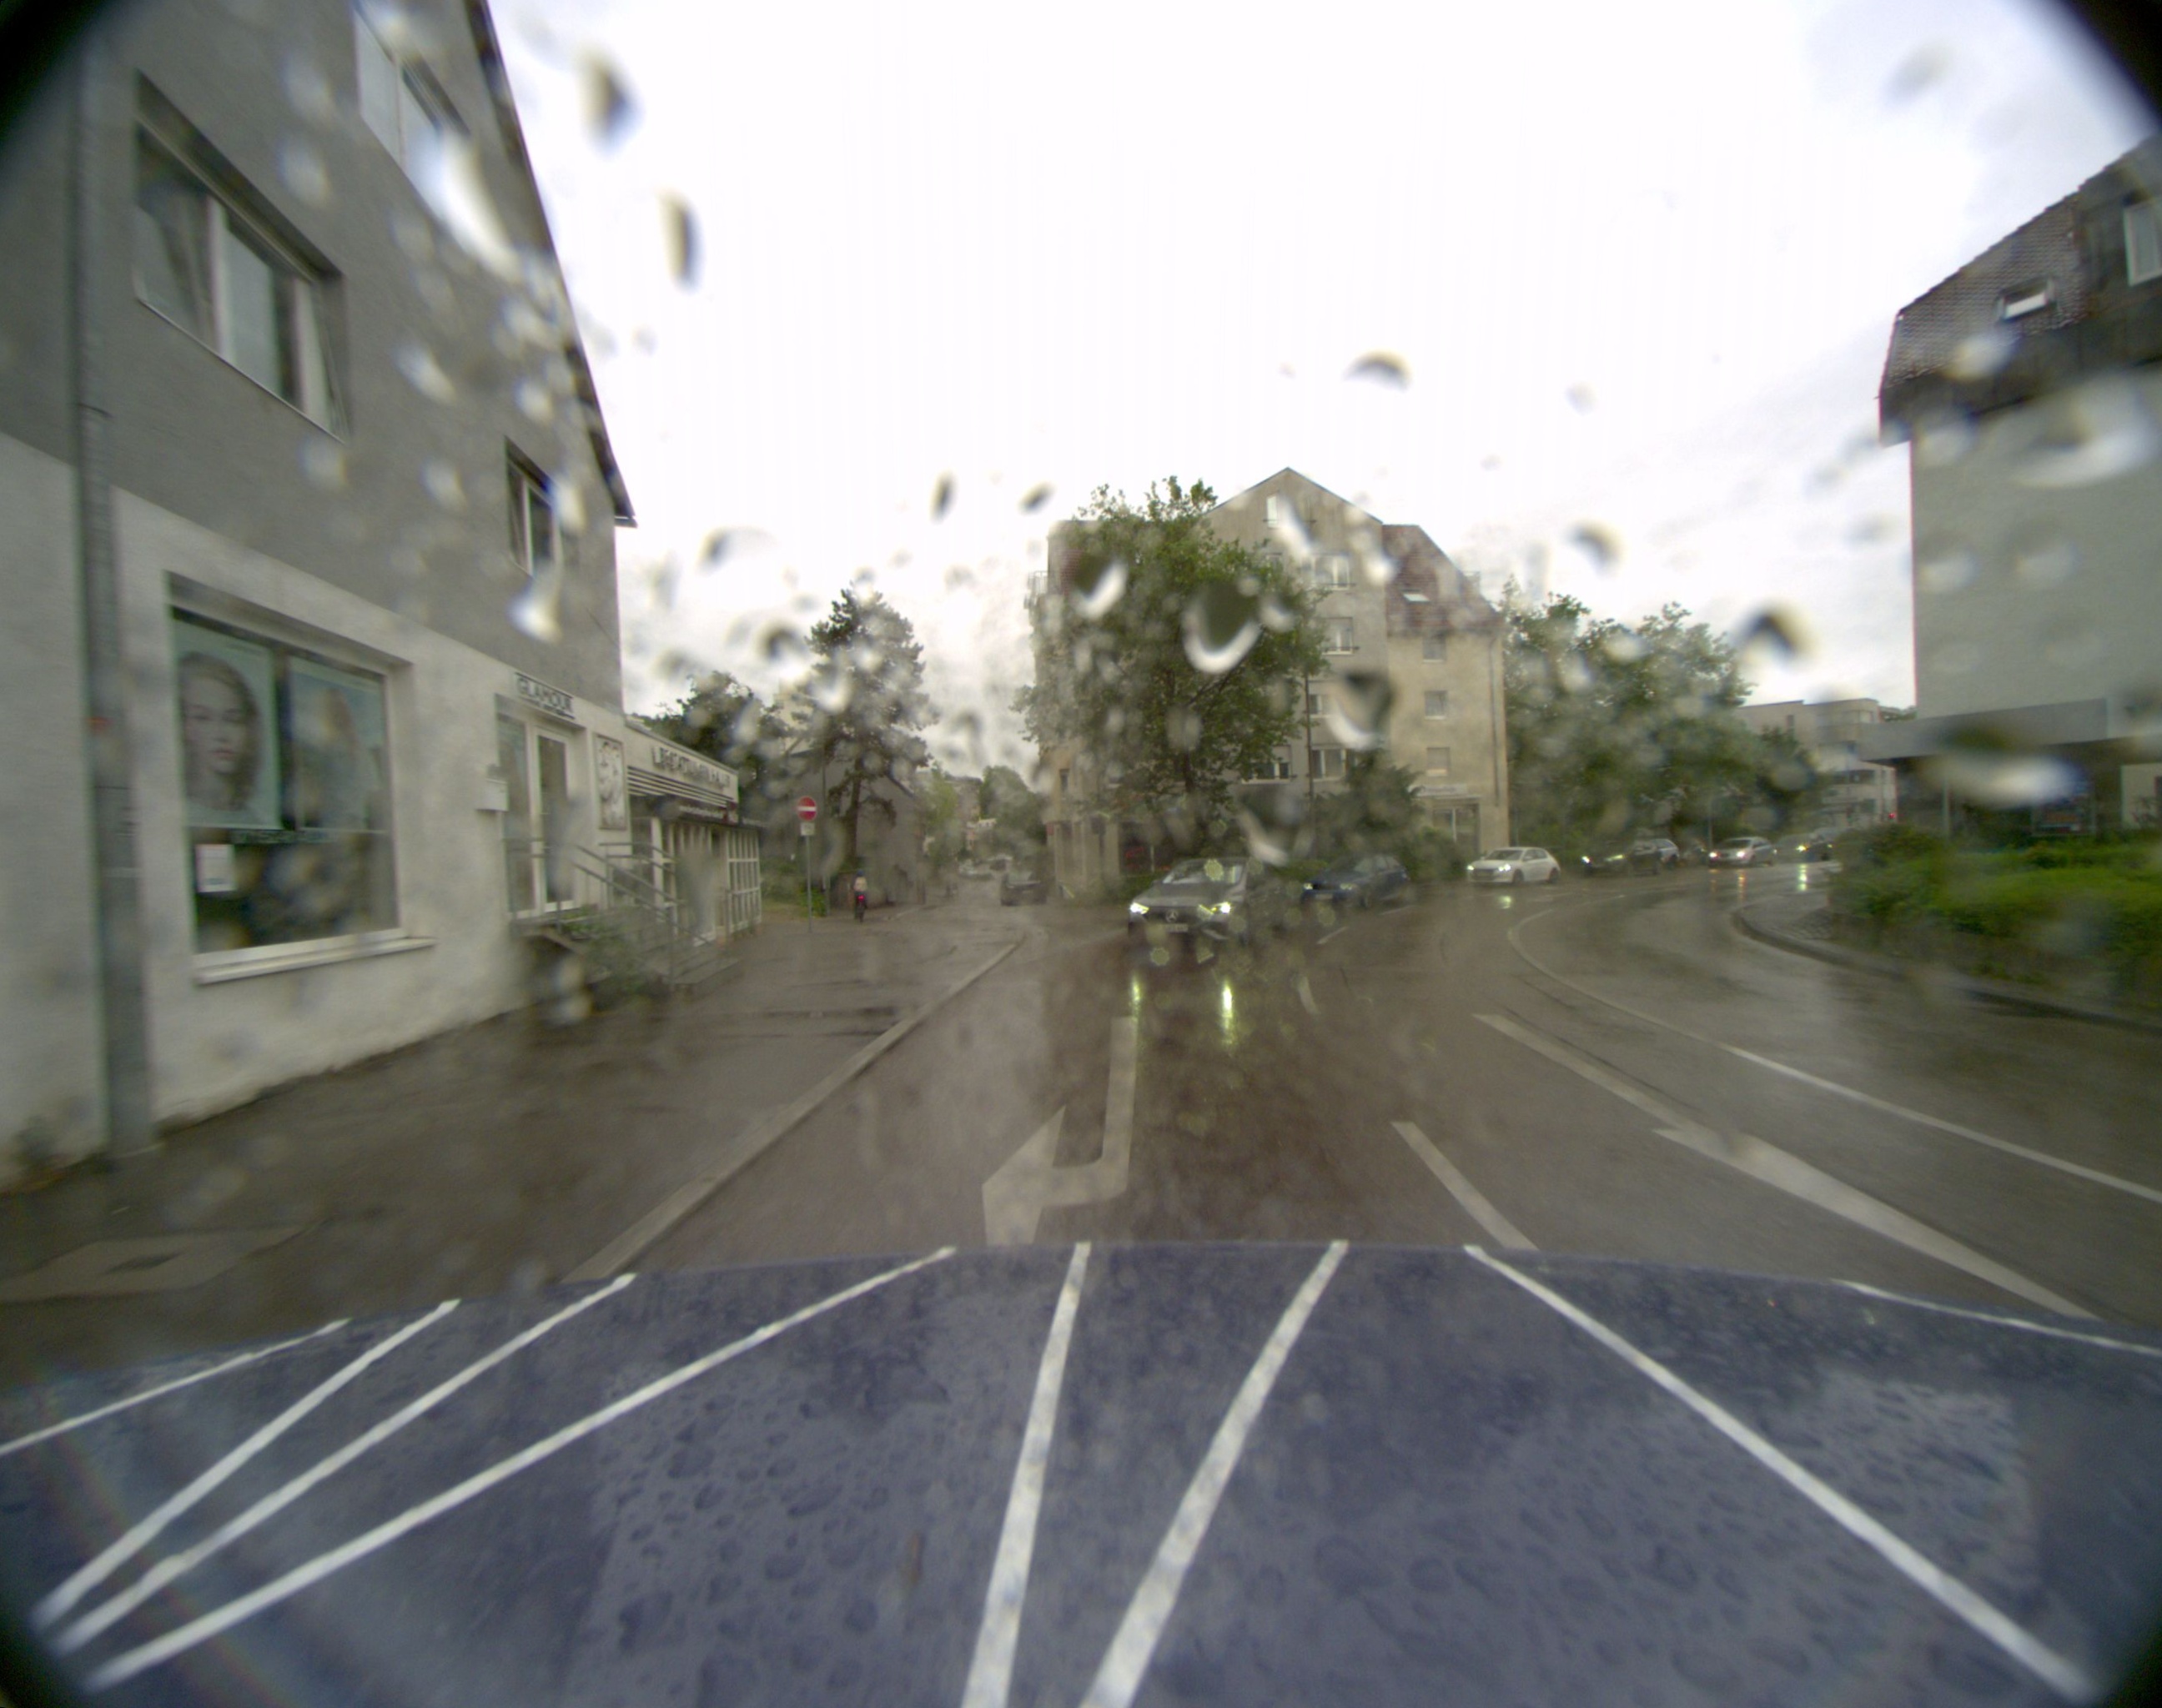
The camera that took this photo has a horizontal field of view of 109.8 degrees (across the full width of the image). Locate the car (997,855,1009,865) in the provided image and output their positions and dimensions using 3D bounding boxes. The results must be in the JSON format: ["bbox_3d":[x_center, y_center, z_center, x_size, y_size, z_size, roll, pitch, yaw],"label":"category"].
[{"bbox_3d":[-13.412,1.015,130.864,1.999,1.563,4.000,-1,-2,-3],"label":"car"}]

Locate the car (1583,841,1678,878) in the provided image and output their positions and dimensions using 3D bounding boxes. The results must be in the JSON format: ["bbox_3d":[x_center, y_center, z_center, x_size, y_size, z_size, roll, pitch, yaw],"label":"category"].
[{"bbox_3d":[24.461,0.249,33.818,4.006,1.444,1.995,-2,0,-32],"label":"car"}]

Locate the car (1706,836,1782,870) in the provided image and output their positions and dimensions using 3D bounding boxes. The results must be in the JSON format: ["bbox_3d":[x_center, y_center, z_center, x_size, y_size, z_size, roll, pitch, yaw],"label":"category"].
[{"bbox_3d":[34.453,-0.075,39.471,4.006,1.612,1.841,-2,0,-32],"label":"car"}]

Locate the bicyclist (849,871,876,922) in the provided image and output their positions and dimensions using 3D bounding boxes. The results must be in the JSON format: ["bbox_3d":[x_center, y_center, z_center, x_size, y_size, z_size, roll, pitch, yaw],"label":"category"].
[{"bbox_3d":[-6.652,1.271,23.149,0.686,1.509,1.029,-2,0,-20],"label":"bicyclist"}]

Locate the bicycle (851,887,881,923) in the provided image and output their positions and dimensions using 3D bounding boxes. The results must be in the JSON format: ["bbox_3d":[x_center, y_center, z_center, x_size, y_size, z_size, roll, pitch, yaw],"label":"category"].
[{"bbox_3d":[-6.551,1.536,23.055,0.764,1.028,2.079,-2,-2,-18],"label":"bicycle"}]

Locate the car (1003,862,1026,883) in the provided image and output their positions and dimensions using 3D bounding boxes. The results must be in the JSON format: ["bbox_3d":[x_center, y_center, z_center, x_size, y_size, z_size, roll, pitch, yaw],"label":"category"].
[{"bbox_3d":[-6.532,1.803,74.628,1.999,1.565,3.996,-7,3,-6],"label":"car"}]

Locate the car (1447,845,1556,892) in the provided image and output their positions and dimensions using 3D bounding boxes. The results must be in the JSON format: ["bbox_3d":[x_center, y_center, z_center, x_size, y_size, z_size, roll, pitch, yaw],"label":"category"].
[{"bbox_3d":[15.590,0.533,28.134,4.007,1.556,1.810,-2,-1,-33],"label":"car"}]

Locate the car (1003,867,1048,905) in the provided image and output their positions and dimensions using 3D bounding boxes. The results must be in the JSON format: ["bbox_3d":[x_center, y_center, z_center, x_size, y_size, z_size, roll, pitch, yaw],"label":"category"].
[{"bbox_3d":[-2.666,1.499,36.467,1.999,1.641,3.999,-2,-1,-4],"label":"car"}]

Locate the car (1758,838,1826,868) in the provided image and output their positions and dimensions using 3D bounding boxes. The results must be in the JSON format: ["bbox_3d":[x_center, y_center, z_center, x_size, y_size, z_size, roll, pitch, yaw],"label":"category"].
[{"bbox_3d":[40.599,-0.065,43.382,4.006,1.542,1.829,-2,-1,-32],"label":"car"}]

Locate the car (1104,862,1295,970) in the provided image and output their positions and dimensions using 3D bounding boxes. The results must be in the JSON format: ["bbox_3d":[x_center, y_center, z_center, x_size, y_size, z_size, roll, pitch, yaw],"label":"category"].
[{"bbox_3d":[2.294,0.958,13.551,1.995,1.484,4.321,-2,0,29],"label":"car"}]

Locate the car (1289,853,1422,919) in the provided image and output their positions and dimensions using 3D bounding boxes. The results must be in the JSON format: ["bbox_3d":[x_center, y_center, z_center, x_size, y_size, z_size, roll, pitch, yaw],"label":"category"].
[{"bbox_3d":[7.683,0.815,21.014,1.770,1.524,4.386,-2,0,44],"label":"car"}]
